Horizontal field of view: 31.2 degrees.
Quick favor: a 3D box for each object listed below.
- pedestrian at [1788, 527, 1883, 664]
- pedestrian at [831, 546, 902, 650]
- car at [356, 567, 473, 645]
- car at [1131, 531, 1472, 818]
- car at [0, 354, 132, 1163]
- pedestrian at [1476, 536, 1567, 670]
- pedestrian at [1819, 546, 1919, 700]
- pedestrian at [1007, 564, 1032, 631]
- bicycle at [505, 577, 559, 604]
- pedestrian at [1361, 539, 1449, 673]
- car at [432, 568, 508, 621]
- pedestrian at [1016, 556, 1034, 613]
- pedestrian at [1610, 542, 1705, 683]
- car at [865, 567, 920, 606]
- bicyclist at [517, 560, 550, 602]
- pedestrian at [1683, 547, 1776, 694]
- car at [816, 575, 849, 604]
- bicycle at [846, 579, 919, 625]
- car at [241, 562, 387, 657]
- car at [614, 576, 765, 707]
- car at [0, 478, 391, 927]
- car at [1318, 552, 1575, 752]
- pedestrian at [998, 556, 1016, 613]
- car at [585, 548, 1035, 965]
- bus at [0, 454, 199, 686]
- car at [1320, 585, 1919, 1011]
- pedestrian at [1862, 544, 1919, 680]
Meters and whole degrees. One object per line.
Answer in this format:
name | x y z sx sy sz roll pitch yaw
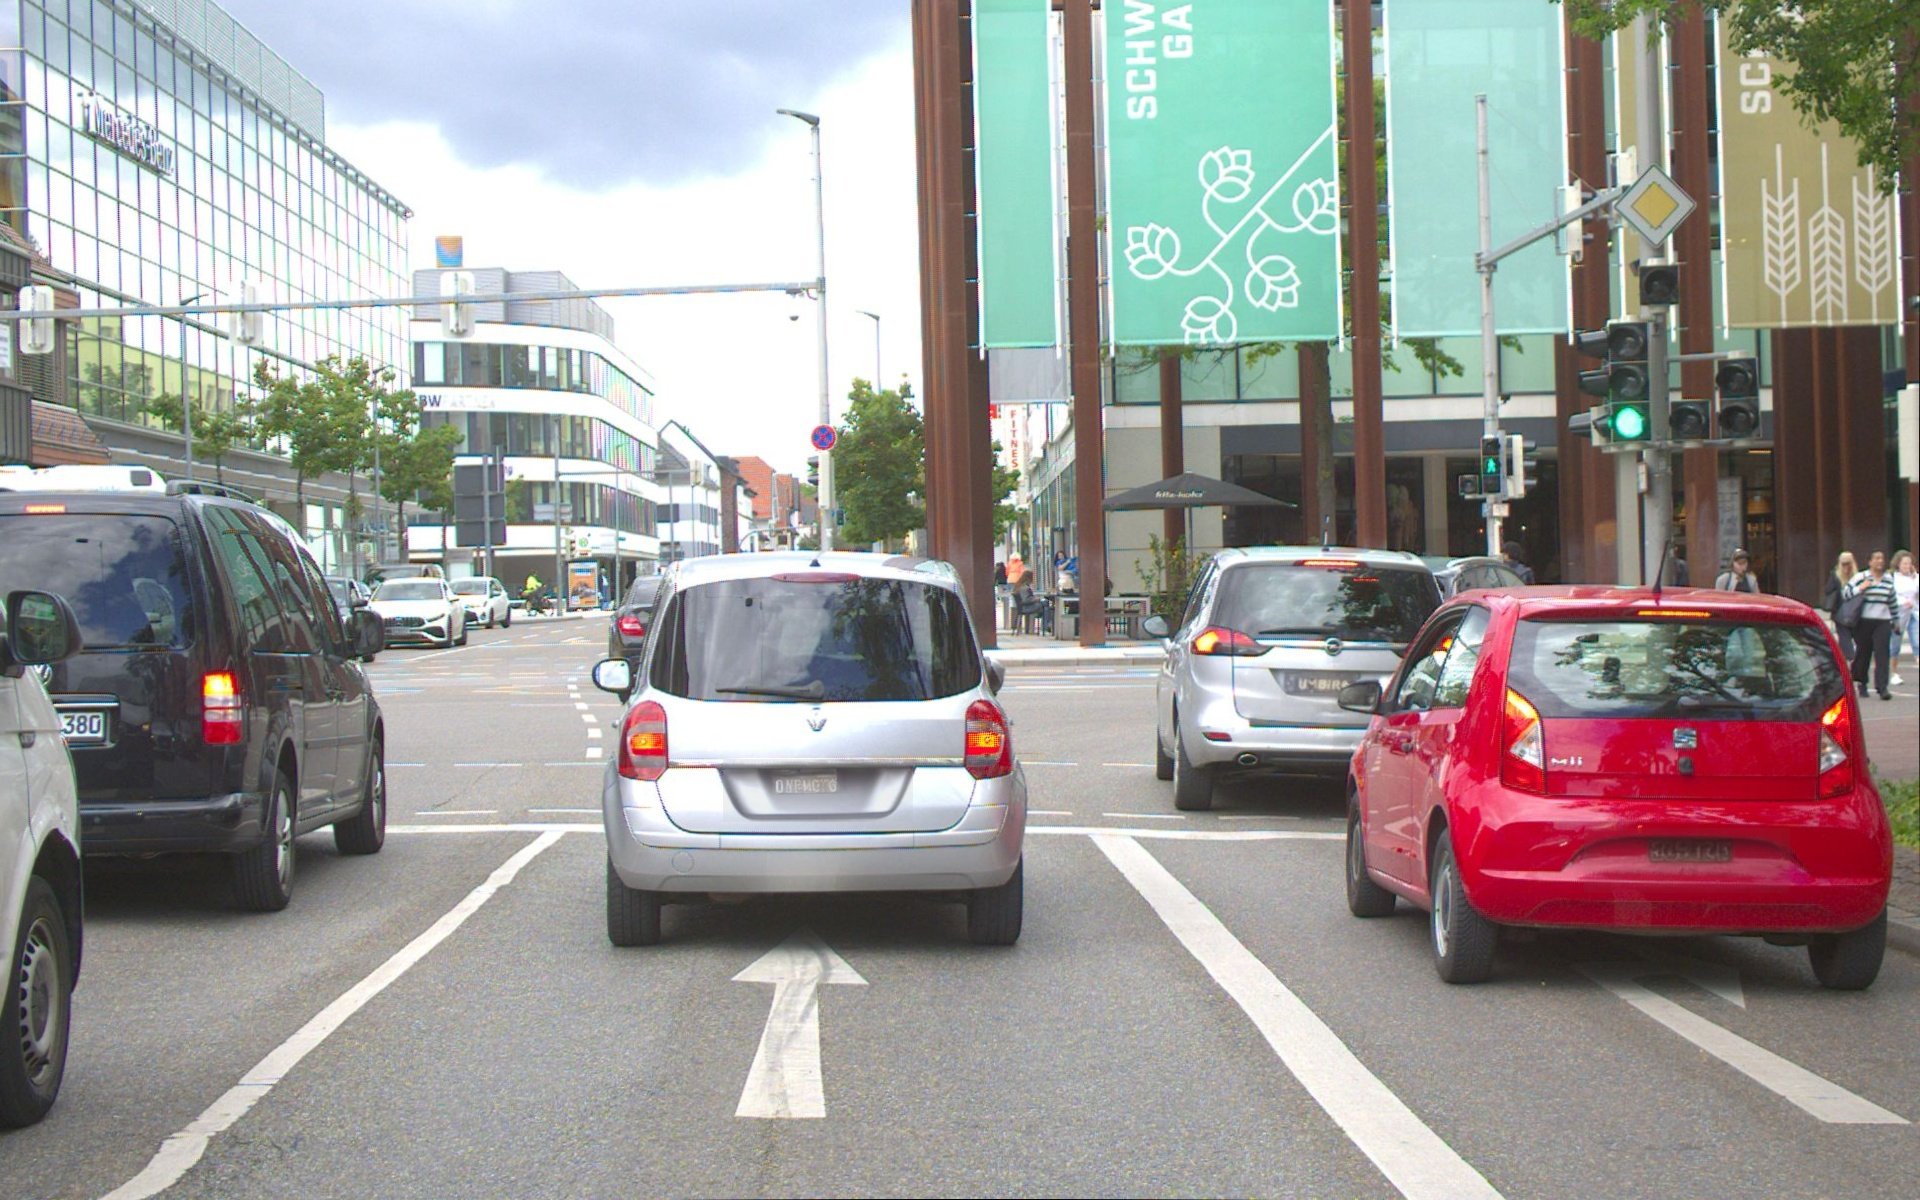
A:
pedestrian | 11.510 -0.063 45.210 0.878 1.761 1.120 -1 0 -4
pedestrian | -1.493 -0.039 54.961 0.871 1.641 0.679 0 1 33
car | -10.956 0.093 69.292 1.744 1.454 4.235 -2 1 -1
car | 2.158 0.426 22.844 1.739 1.695 4.381 1 1 -1
car | -3.351 0.397 7.509 1.993 2.007 4.840 1 1 -1
pedestrian | 7.159 0.030 43.850 0.878 1.675 1.120 -1 0 -4
pedestrian | 9.830 0.241 37.191 0.741 1.621 0.954 -1 1 -4
pedestrian | 1.091 -0.040 62.982 0.447 1.216 0.606 -1 0 2
bicycle | -16.847 -0.374 135.202 1.006 1.015 3.130 1 0 -29
pedestrian | 5.655 0.069 43.734 0.878 1.675 1.120 -1 0 -4
car | -14.282 -0.168 100.351 1.660 1.460 4.000 -2 1 -1
pedestrian | 1.749 -0.415 92.869 0.427 1.544 0.481 -1 0 -3
pedestrian | 8.878 0.149 43.800 0.878 1.761 1.120 -1 0 -4
car | -2.364 -0.484 120.698 1.877 1.330 4.000 1 1 -1
bicyclist | -16.756 -0.746 135.055 1.006 1.655 0.933 1 0 -29
pedestrian | 8.680 0.226 38.813 0.741 1.621 0.954 -1 1 -4
car | -6.832 -0.554 184.295 1.660 1.460 4.000 -2 1 -1
bicycle | -1.723 0.044 76.416 1.560 0.989 0.752 -1 0 2
car | -10.673 0.129 57.033 1.744 1.454 3.818 -2 1 -1
car | -3.391 0.494 43.588 1.669 1.549 3.642 1 1 -1
car | -3.826 0.387 16.262 1.707 1.814 4.572 1 1 -3
car | 4.397 0.391 30.496 1.852 1.603 4.858 1 1 13
pedestrian | 1.267 -0.424 92.945 0.427 1.544 0.481 -1 0 -3
car | -0.602 0.571 14.774 1.669 1.549 3.642 1 1 -1
bus | -15.138 -0.359 49.675 2.989 3.316 12.300 -3 1 13
car | 2.502 0.685 13.847 1.626 1.443 3.642 1 1 -1
pedestrian | 11.340 0.134 40.993 0.821 1.589 1.039 -1 0 -4
